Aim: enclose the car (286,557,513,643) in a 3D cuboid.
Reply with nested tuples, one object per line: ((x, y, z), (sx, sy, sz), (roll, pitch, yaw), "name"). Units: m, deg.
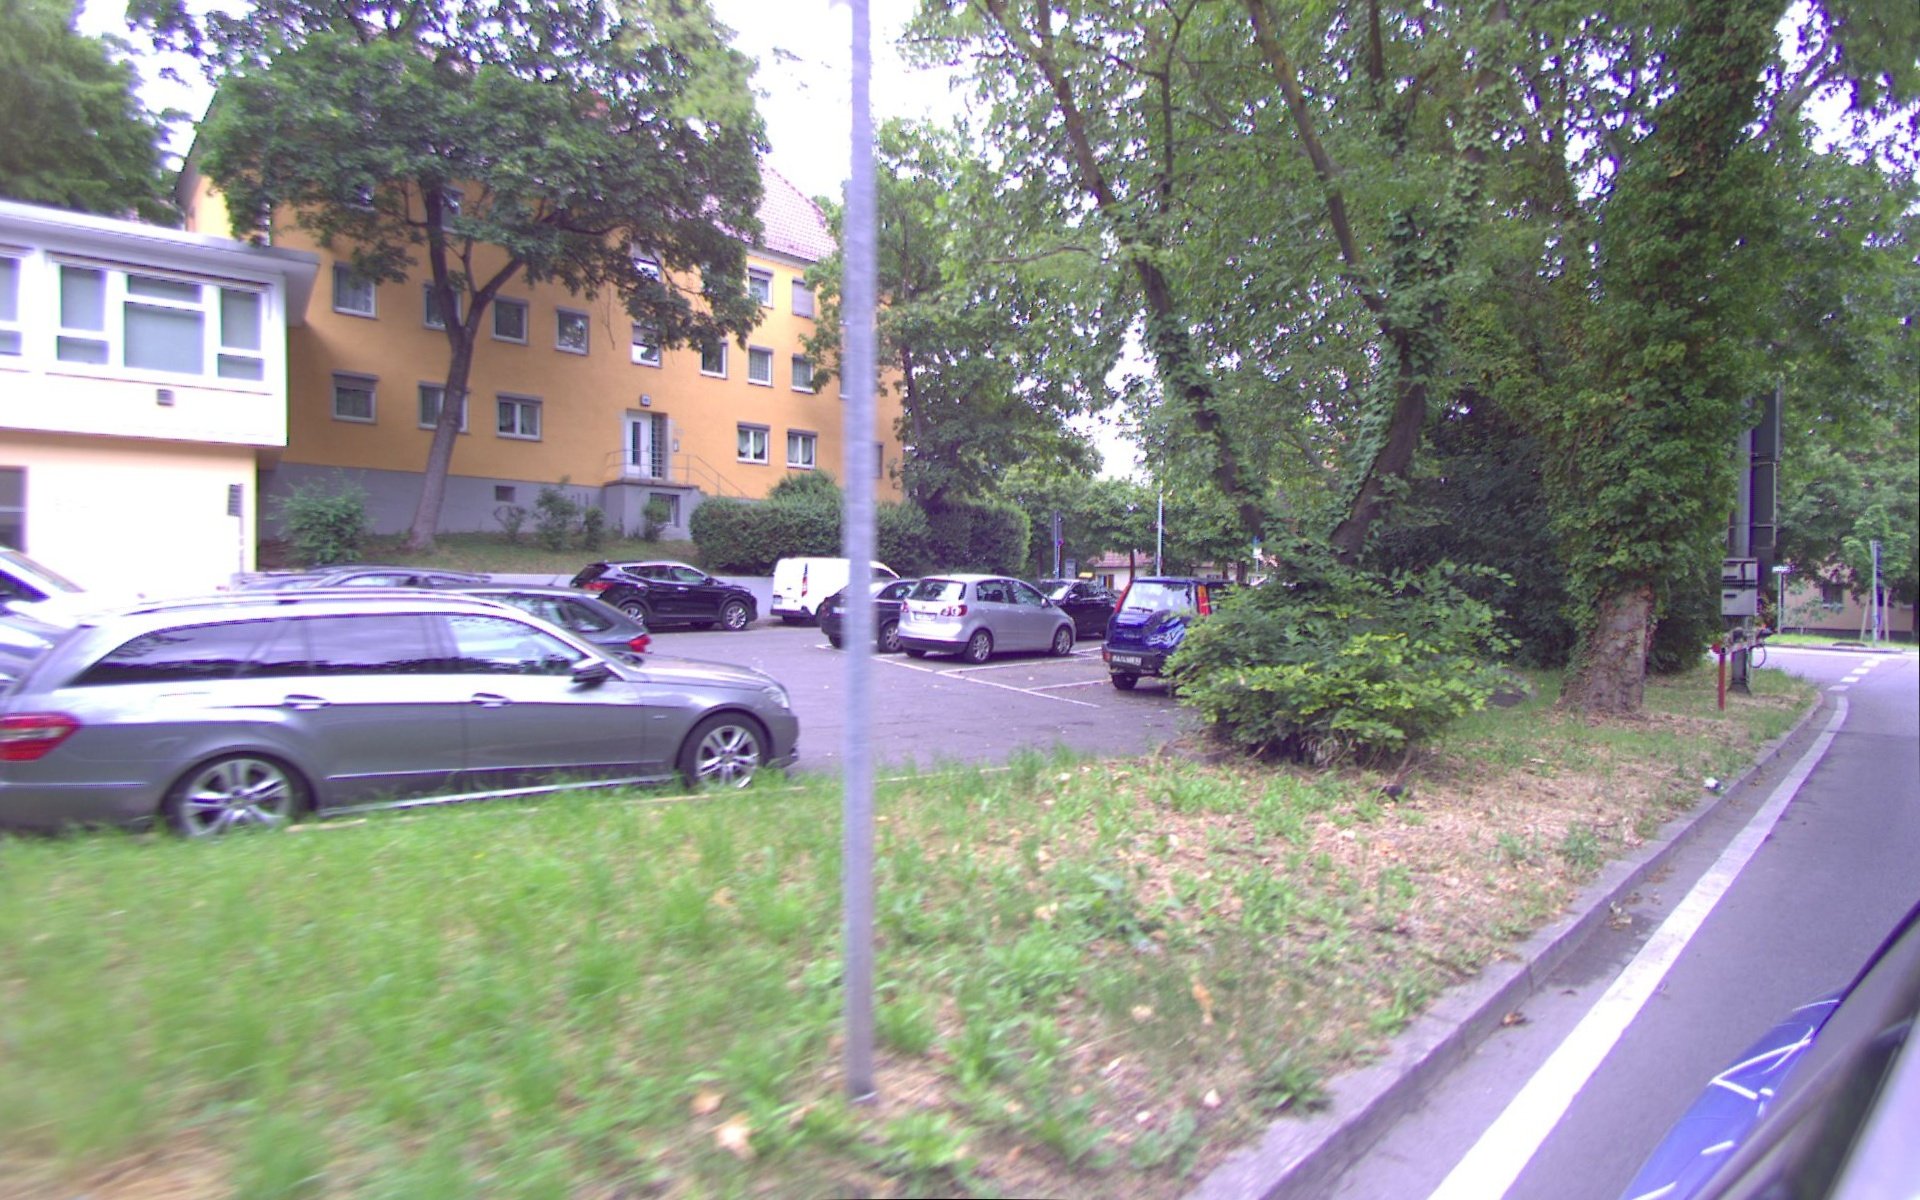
((-10.985, -0.031, 19.982), (1.651, 1.523, 3.611), (2, 2, 43), "car")

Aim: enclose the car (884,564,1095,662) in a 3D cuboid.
((0.649, 0.178, 19.183), (1.732, 1.588, 4.066), (4, 3, 43), "car")

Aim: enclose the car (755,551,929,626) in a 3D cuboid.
((-3.186, -0.374, 27.964), (4.524, 1.909, 1.996), (-1, 3, -44), "car")

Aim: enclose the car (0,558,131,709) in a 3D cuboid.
((-11.062, 0.228, 10.122), (3.925, 1.460, 1.814), (4, -1, -30), "car")

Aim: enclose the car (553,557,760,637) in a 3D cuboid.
((-7.118, -0.139, 23.970), (4.286, 1.693, 1.996), (-2, 3, -44), "car")

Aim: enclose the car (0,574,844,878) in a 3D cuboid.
((-3.421, 0.615, 6.916), (4.967, 1.460, 1.791), (1, 1, -36), "car")

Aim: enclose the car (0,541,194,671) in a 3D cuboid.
((-12.062, -0.015, 12.243), (4.158, 1.460, 1.814), (4, -1, -30), "car")

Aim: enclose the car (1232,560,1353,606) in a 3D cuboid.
((14.821, -0.779, 45.186), (4.810, 1.811, 1.769), (3, 2, 33), "car")

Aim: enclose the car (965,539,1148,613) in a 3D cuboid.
((2.437, -0.565, 24.469), (1.992, 1.598, 4.833), (3, 2, 40), "car")

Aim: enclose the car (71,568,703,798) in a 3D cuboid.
((-4.793, 0.568, 9.019), (4.507, 1.577, 1.791), (1, 1, -36), "car")

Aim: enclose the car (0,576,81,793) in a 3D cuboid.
((-8.426, 0.582, 6.645), (3.825, 1.460, 1.749), (-1, 2, -36), "car")

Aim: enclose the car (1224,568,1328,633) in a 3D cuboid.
((9.527, -0.050, 30.881), (1.829, 1.502, 4.427), (4, 4, 2), "car")

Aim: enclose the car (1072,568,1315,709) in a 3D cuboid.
((3.631, 0.401, 15.022), (1.804, 1.685, 4.824), (3, 3, 35), "car")

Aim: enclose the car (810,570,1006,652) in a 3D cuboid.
((-0.977, 0.159, 20.872), (1.730, 1.445, 4.072), (4, 3, 39), "car")

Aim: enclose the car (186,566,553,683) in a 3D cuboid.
((-8.321, 0.297, 14.588), (4.318, 1.464, 1.792), (1, 1, -32), "car")

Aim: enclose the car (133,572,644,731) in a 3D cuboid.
((-5.965, 0.449, 10.979), (4.507, 1.396, 1.791), (1, 1, -36), "car")

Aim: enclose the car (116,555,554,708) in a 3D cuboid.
((-7.493, 0.327, 12.545), (4.318, 1.614, 1.792), (1, 1, -32), "car")
